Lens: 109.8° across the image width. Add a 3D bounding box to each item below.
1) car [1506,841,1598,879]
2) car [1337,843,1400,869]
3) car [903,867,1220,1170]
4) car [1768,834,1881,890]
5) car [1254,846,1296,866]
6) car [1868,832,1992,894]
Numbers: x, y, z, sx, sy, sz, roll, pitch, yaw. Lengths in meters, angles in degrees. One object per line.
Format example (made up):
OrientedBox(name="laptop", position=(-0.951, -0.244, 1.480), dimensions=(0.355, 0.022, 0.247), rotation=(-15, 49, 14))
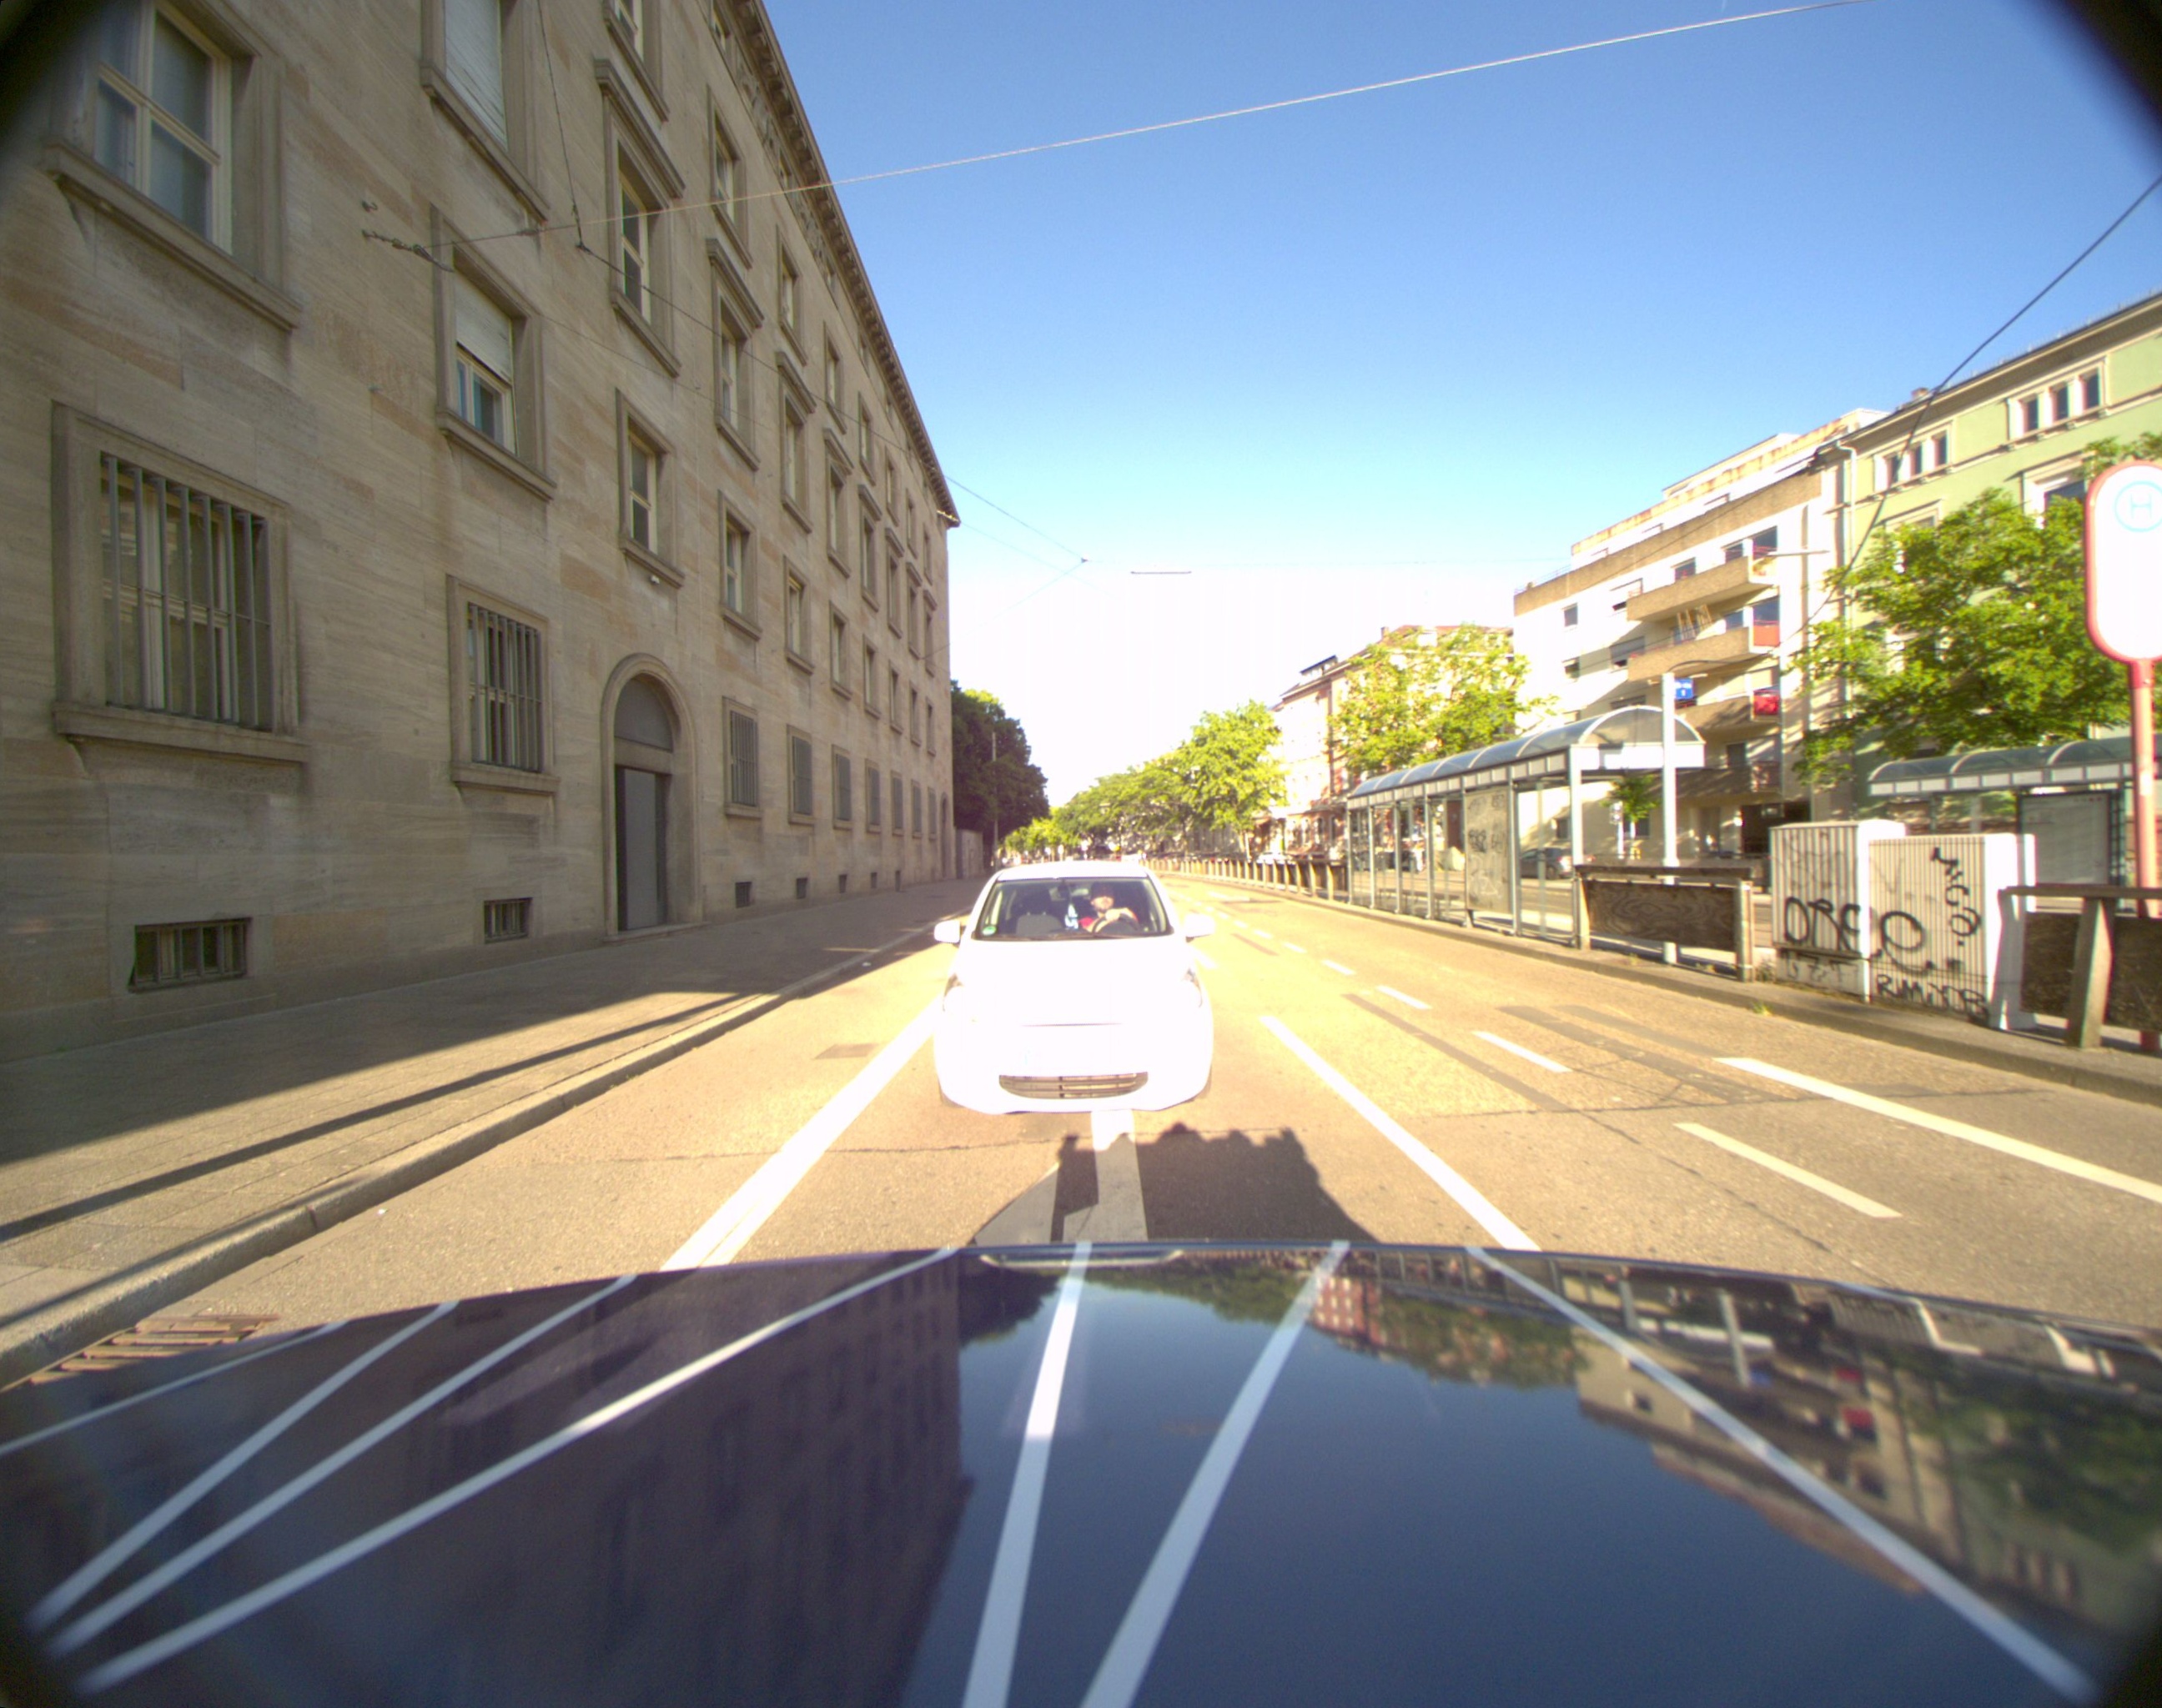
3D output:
OrientedBox(name="car", position=(20.912, 0.232, 33.927), dimensions=(1.631, 1.558, 3.598), rotation=(-2, 1, -5))
OrientedBox(name="car", position=(19.540, 0.125, 51.718), dimensions=(3.599, 1.558, 1.630), rotation=(-2, 1, -7))
OrientedBox(name="car", position=(-0.076, 0.898, 5.803), dimensions=(1.612, 1.462, 3.631), rotation=(-2, 0, 1))
OrientedBox(name="car", position=(23.882, 0.225, 24.398), dimensions=(3.605, 1.558, 1.627), rotation=(-3, 1, -29))
OrientedBox(name="car", position=(16.254, 0.156, 63.471), dimensions=(3.607, 1.558, 1.627), rotation=(-3, 1, -42))
OrientedBox(name="car", position=(24.461, 0.231, 21.885), dimensions=(3.605, 1.558, 1.627), rotation=(-3, 1, -29))
